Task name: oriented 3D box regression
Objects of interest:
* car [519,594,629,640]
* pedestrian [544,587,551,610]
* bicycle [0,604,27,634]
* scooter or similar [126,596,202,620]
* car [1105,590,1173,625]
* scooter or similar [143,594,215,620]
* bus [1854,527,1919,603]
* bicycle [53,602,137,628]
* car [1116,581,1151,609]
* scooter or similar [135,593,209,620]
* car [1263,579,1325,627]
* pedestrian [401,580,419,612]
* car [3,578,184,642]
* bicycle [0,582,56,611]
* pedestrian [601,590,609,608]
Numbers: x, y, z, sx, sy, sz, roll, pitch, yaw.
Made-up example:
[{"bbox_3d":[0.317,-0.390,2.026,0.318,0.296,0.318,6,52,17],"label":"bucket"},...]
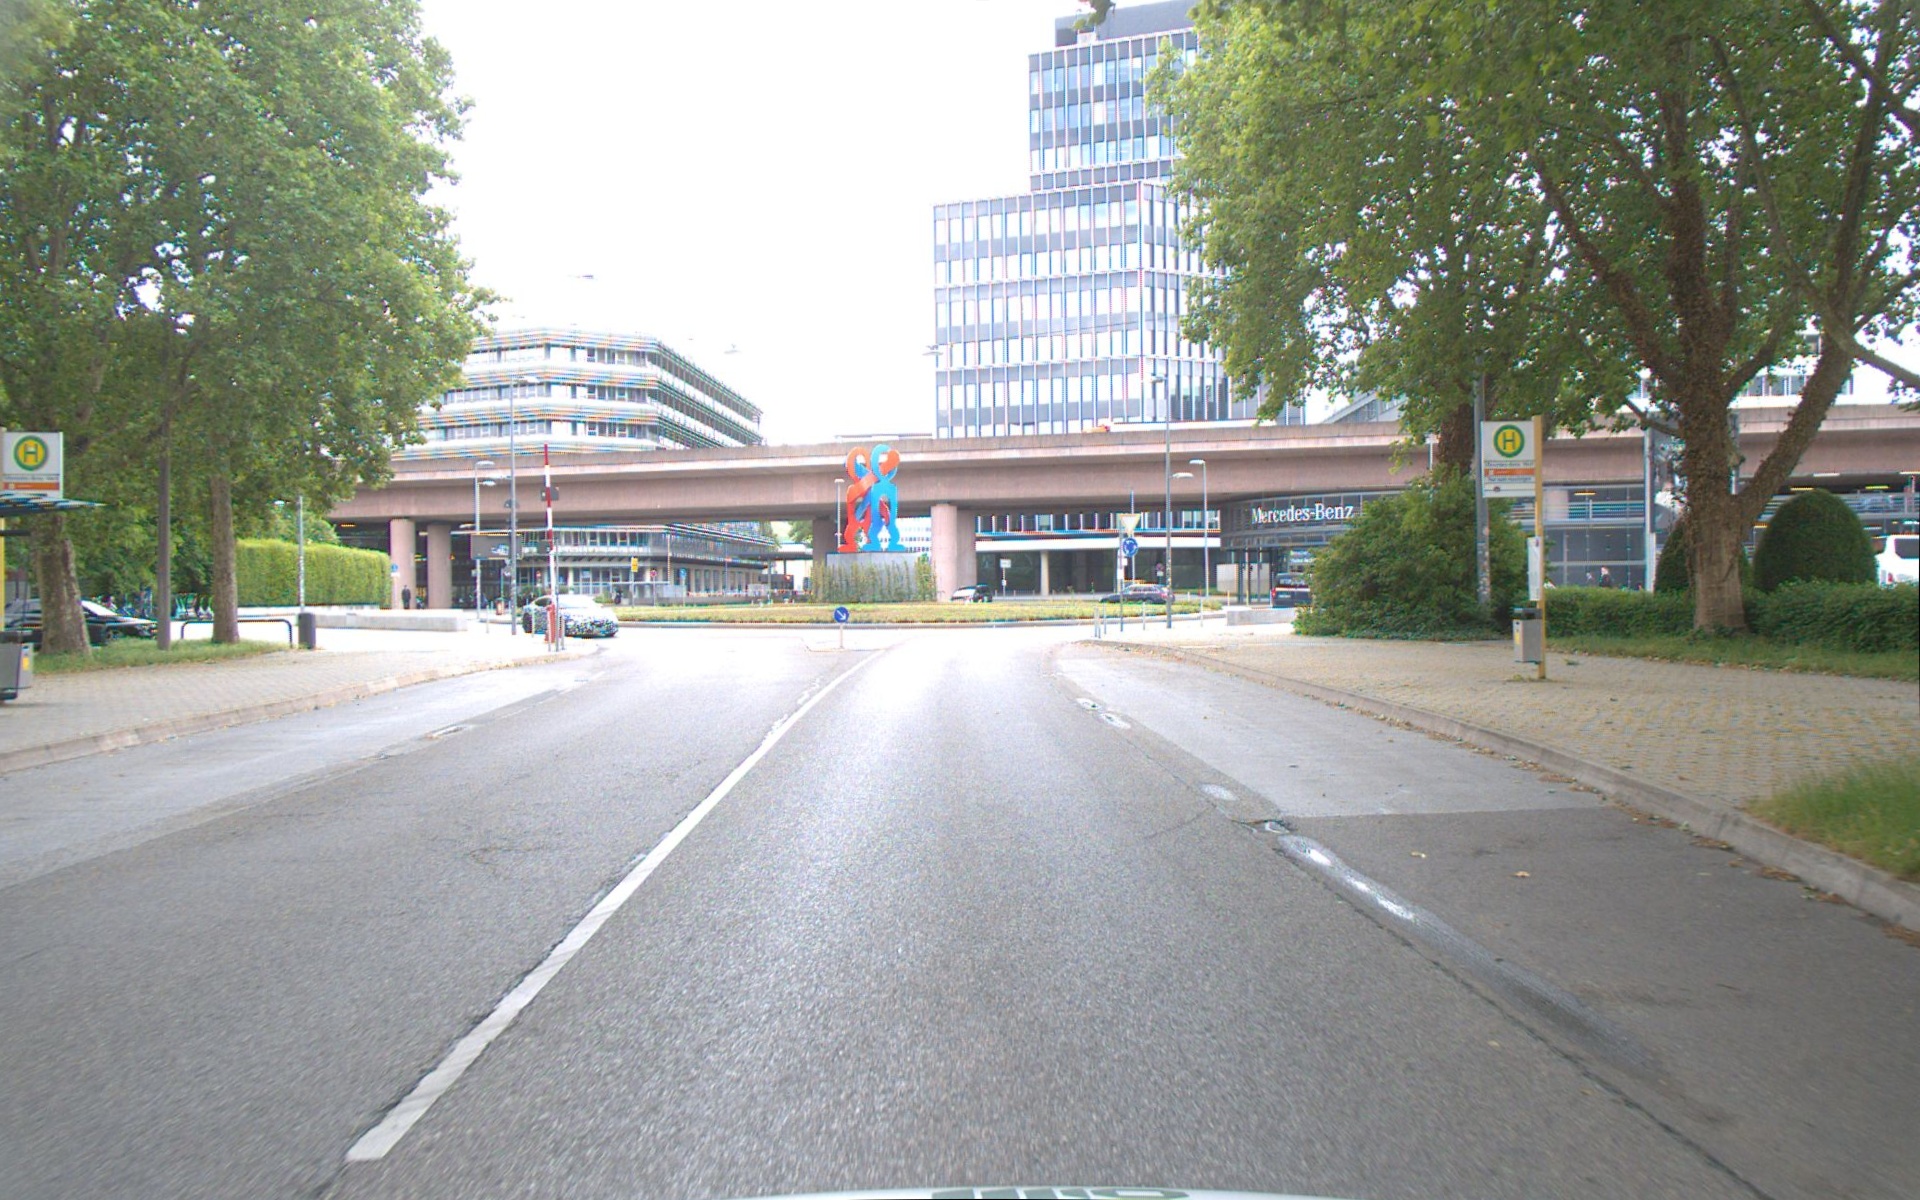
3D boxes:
[{"bbox_3d":[-13.681,0.610,58.452,1.888,1.478,4.747,-3,1,-39],"label":"car"},{"bbox_3d":[-35.801,-0.135,143.669,0.578,2.049,0.597,0,0,-13],"label":"pedestrian"},{"bbox_3d":[-36.204,0.702,60.857,3.130,1.116,0.769,0,0,-17],"label":"bicycle"},{"bbox_3d":[-37.268,0.369,77.478,3.131,1.116,0.769,0,0,-18],"label":"scooter or similar"},{"bbox_3d":[10.252,0.440,94.713,3.642,1.959,1.923,0,0,16],"label":"car"},{"bbox_3d":[-38.668,0.348,81.891,3.131,1.271,0.769,0,0,-18],"label":"scooter or similar"},{"bbox_3d":[53.794,-1.853,88.584,10.838,4.003,2.754,0,0,-7],"label":"bus"},{"bbox_3d":[-37.528,0.642,71.763,3.131,1.116,0.769,0,0,-18],"label":"bicycle"},{"bbox_3d":[13.187,-0.371,125.594,1.951,2.049,4.003,0,0,16],"label":"car"},{"bbox_3d":[-37.835,0.298,79.461,3.131,1.271,0.769,0,0,-18],"label":"scooter or similar"},{"bbox_3d":[14.825,0.125,73.216,2.228,2.049,4.786,0,0,17],"label":"car"},{"bbox_3d":[-35.690,-0.251,107.340,1.025,2.049,0.597,0,0,-13],"label":"pedestrian"},{"bbox_3d":[-23.964,0.260,45.880,3.915,1.633,2.227,-1,0,-11],"label":"car"},{"bbox_3d":[-37.299,-0.142,64.893,3.130,1.116,0.769,0,0,-17],"label":"bicycle"},{"bbox_3d":[-40.605,-0.082,189.148,0.760,2.049,0.670,0,0,-1],"label":"pedestrian"}]
